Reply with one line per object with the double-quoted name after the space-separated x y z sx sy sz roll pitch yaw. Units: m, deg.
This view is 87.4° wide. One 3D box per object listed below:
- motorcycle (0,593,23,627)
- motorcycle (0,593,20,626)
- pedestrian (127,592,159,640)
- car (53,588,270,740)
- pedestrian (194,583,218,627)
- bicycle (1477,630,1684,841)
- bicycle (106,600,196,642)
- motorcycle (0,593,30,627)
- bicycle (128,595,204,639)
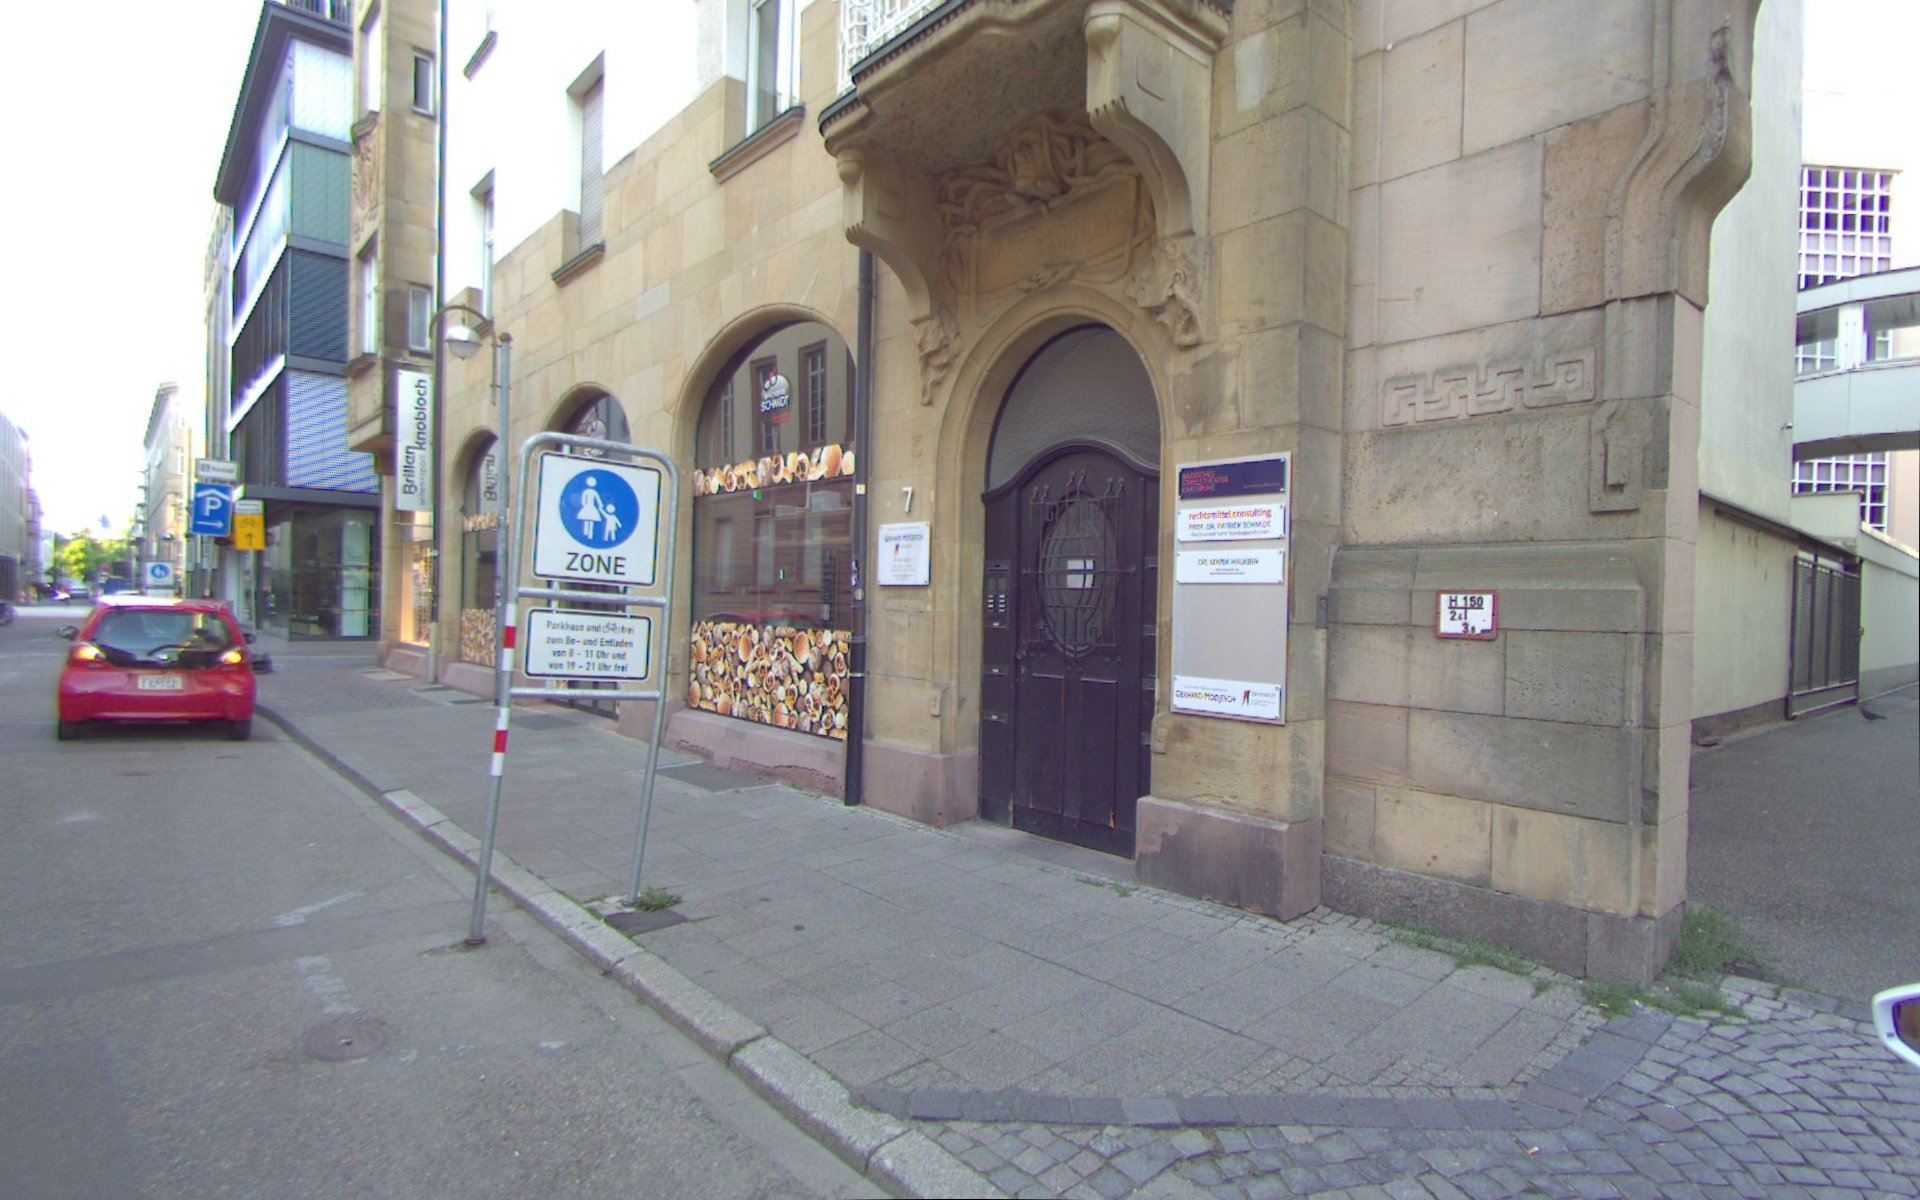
-37.754 0.375 38.823 2.176 1.299 0.644 3 -1 -39 "motorcycle"
-39.648 0.356 40.686 2.176 1.299 0.644 3 -1 -39 "motorcycle"
-29.464 0.563 36.217 0.806 1.693 0.919 2 -1 -42 "pedestrian"
-9.018 0.665 11.372 1.626 1.460 3.120 5 -3 -40 "car"
-29.706 0.213 39.579 0.665 1.693 0.755 2 -1 -39 "pedestrian"
3.807 0.740 6.102 1.743 1.094 0.589 1 0 -42 "bicycle"
-22.659 0.584 28.158 1.938 1.145 0.613 0 0 -40 "bicycle"
-38.255 0.373 39.642 2.176 1.299 0.644 3 -1 -39 "motorcycle"
-21.425 0.449 27.117 1.595 1.133 0.613 0 0 -40 "bicycle"
